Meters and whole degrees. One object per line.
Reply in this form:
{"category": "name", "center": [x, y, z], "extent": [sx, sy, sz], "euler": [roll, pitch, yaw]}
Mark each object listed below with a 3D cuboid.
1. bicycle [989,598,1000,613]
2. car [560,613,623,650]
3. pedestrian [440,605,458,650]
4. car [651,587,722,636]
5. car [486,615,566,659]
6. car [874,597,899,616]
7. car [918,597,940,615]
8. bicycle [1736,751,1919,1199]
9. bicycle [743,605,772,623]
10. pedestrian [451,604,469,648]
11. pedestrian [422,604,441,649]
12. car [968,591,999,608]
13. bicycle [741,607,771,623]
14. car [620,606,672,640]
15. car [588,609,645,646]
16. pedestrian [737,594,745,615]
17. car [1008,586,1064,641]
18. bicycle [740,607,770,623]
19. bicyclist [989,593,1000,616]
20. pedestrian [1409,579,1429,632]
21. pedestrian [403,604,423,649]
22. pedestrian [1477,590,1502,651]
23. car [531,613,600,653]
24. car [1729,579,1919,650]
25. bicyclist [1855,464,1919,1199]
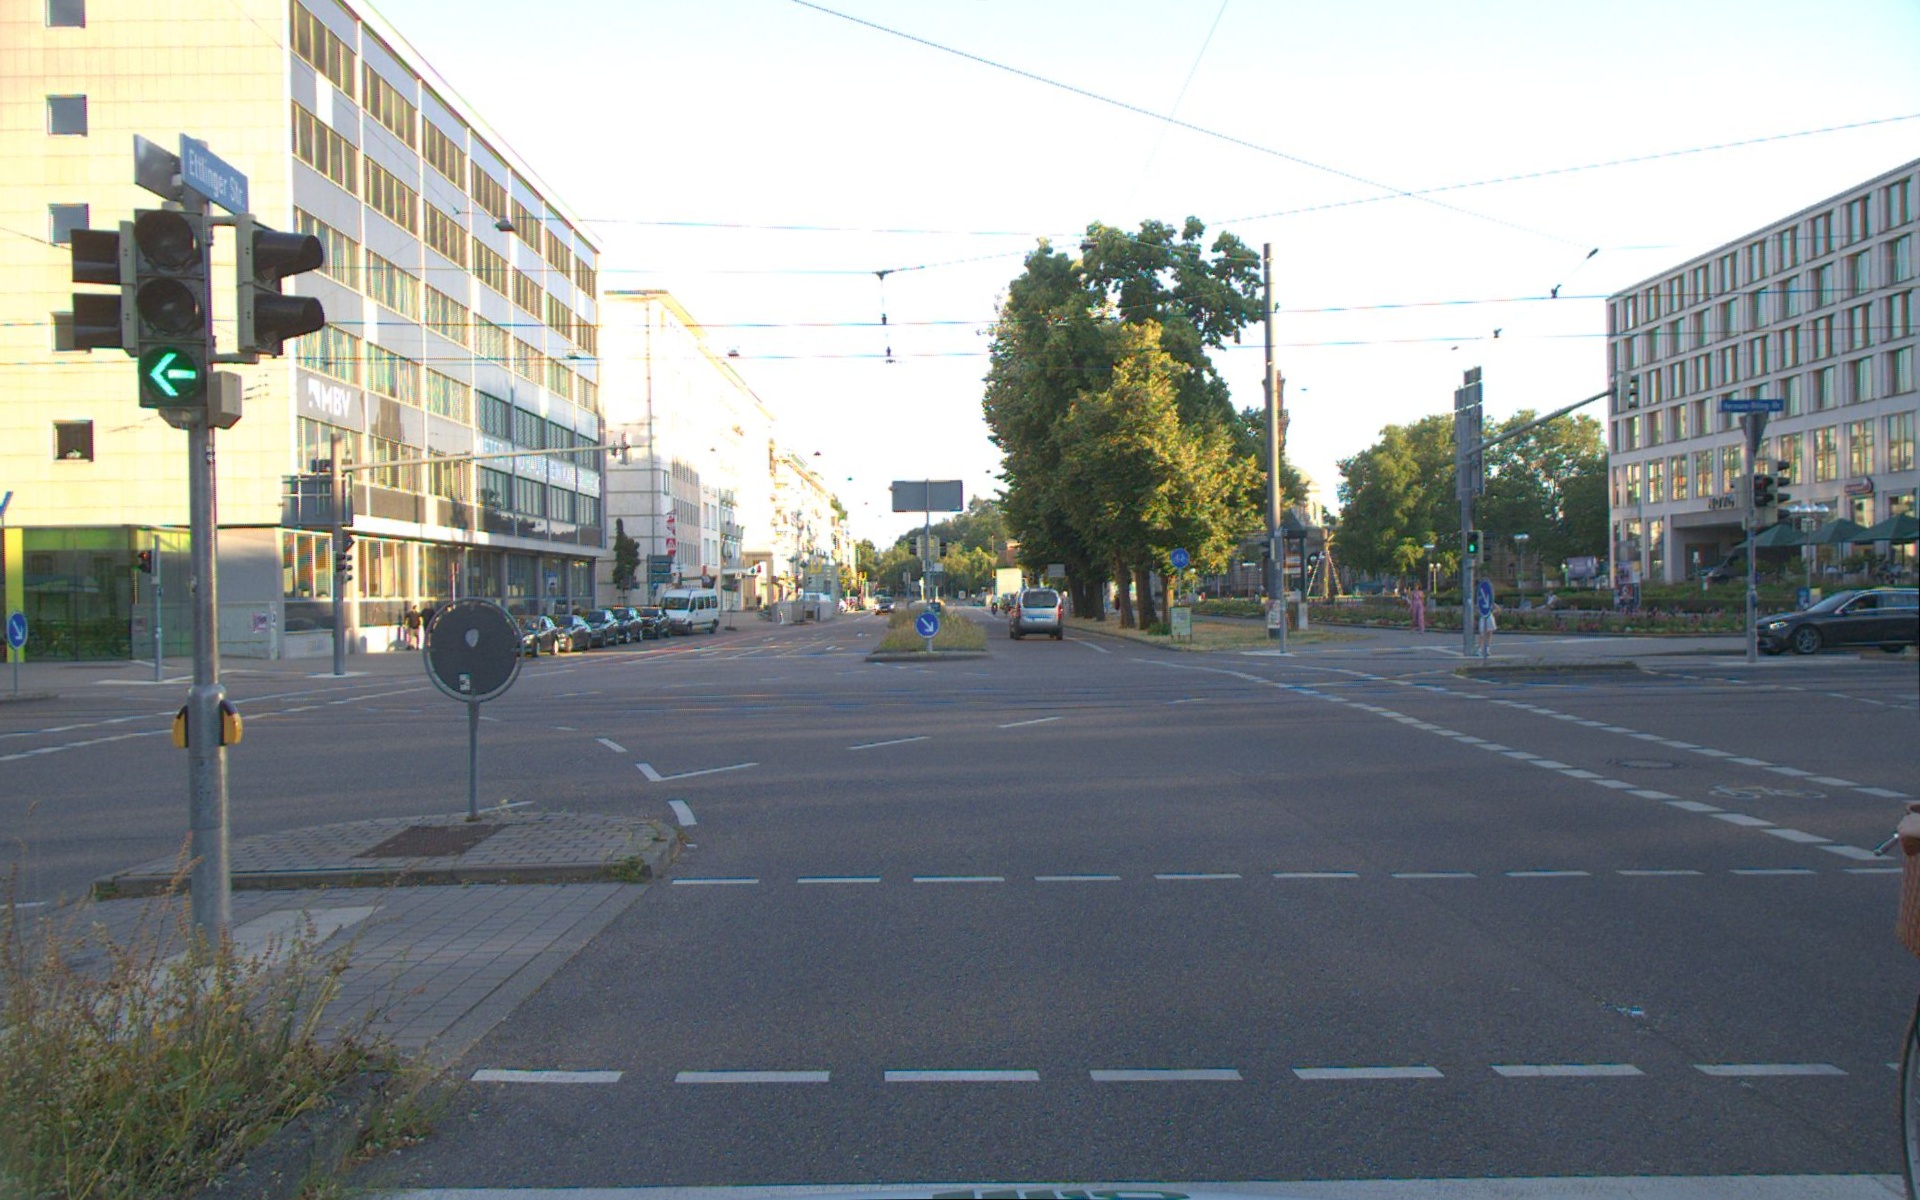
{"category": "bicycle", "center": [2.618, 0.435, 127.332], "extent": [0.731, 1.164, 2.505], "euler": [-1, 0, -1]}
{"category": "car", "center": [-16.113, 1.375, 72.480], "extent": [1.882, 1.489, 3.999], "euler": [-1, 0, -1]}
{"category": "pedestrian", "center": [-19.981, 1.069, 64.662], "extent": [0.490, 1.708, 0.500], "euler": [-1, 0, -1]}
{"category": "car", "center": [-14.919, 0.587, 90.493], "extent": [1.958, 2.521, 5.873], "euler": [-1, 0, 9]}
{"category": "car", "center": [-15.983, 1.344, 61.119], "extent": [1.882, 1.489, 4.102], "euler": [-1, 0, -1]}
{"category": "car", "center": [-6.325, 0.526, 143.254], "extent": [1.824, 1.546, 4.001], "euler": [-1, 0, 1]}
{"category": "car", "center": [-2.754, 0.562, 148.624], "extent": [1.825, 1.546, 4.000], "euler": [-1, 0, 0]}
{"category": "bicycle", "center": [2.203, 0.947, 3.032], "extent": [0.599, 1.152, 2.004], "euler": [0, 0, -1]}
{"category": "bicycle", "center": [-15.667, 1.084, 128.128], "extent": [2.161, 1.258, 0.839], "euler": [-1, 0, -2]}
{"category": "pedestrian", "center": [-19.392, 1.002, 64.152], "extent": [0.540, 1.708, 0.500], "euler": [-1, 0, -1]}
{"category": "pedestrian", "center": [-20.634, 1.031, 64.528], "extent": [0.540, 1.708, 0.500], "euler": [-1, 0, -1]}
{"category": "car", "center": [3.032, -0.092, 215.727], "extent": [3.909, 2.049, 1.998], "euler": [-1, 0, -5]}
{"category": "bicycle", "center": [-15.544, 1.135, 125.982], "extent": [2.161, 1.132, 0.688], "euler": [-1, 0, -3]}
{"category": "car", "center": [-15.935, 1.148, 84.016], "extent": [1.882, 1.596, 3.999], "euler": [-1, 0, -1]}
{"category": "car", "center": [-16.109, 1.268, 77.784], "extent": [1.882, 1.596, 3.999], "euler": [-1, 0, -1]}
{"category": "pedestrian", "center": [-21.675, 0.483, 164.020], "extent": [0.666, 2.049, 0.545], "euler": [-1, 0, -1]}
{"category": "car", "center": [2.776, 0.485, 61.155], "extent": [1.727, 1.921, 4.499], "euler": [-1, 0, -1]}
{"category": "bicycle", "center": [-15.447, 1.123, 124.694], "extent": [2.161, 1.132, 0.618], "euler": [-1, 0, -3]}
{"category": "bicyclist", "center": [2.641, 0.342, 126.929], "extent": [0.731, 1.692, 0.873], "euler": [-1, 0, -1]}
{"category": "pedestrian", "center": [14.626, 0.168, 52.730], "extent": [0.451, 1.685, 0.566], "euler": [-1, 0, -1]}
{"category": "pedestrian", "center": [-21.110, 1.018, 63.840], "extent": [0.540, 1.708, 0.500], "euler": [-1, 0, -1]}
{"category": "pedestrian", "center": [13.802, 0.540, 43.114], "extent": [0.480, 1.567, 0.408], "euler": [-1, 0, -1]}
{"category": "car", "center": [-16.093, 1.334, 67.666], "extent": [1.882, 1.489, 3.999], "euler": [-1, 0, -1]}
{"category": "car", "center": [21.176, 0.329, 39.426], "extent": [4.724, 1.542, 2.000], "euler": [-2, 0, 1]}
{"category": "bicyclist", "center": [2.209, 0.563, 3.029], "extent": [0.587, 1.665, 0.998], "euler": [0, 0, -1]}
